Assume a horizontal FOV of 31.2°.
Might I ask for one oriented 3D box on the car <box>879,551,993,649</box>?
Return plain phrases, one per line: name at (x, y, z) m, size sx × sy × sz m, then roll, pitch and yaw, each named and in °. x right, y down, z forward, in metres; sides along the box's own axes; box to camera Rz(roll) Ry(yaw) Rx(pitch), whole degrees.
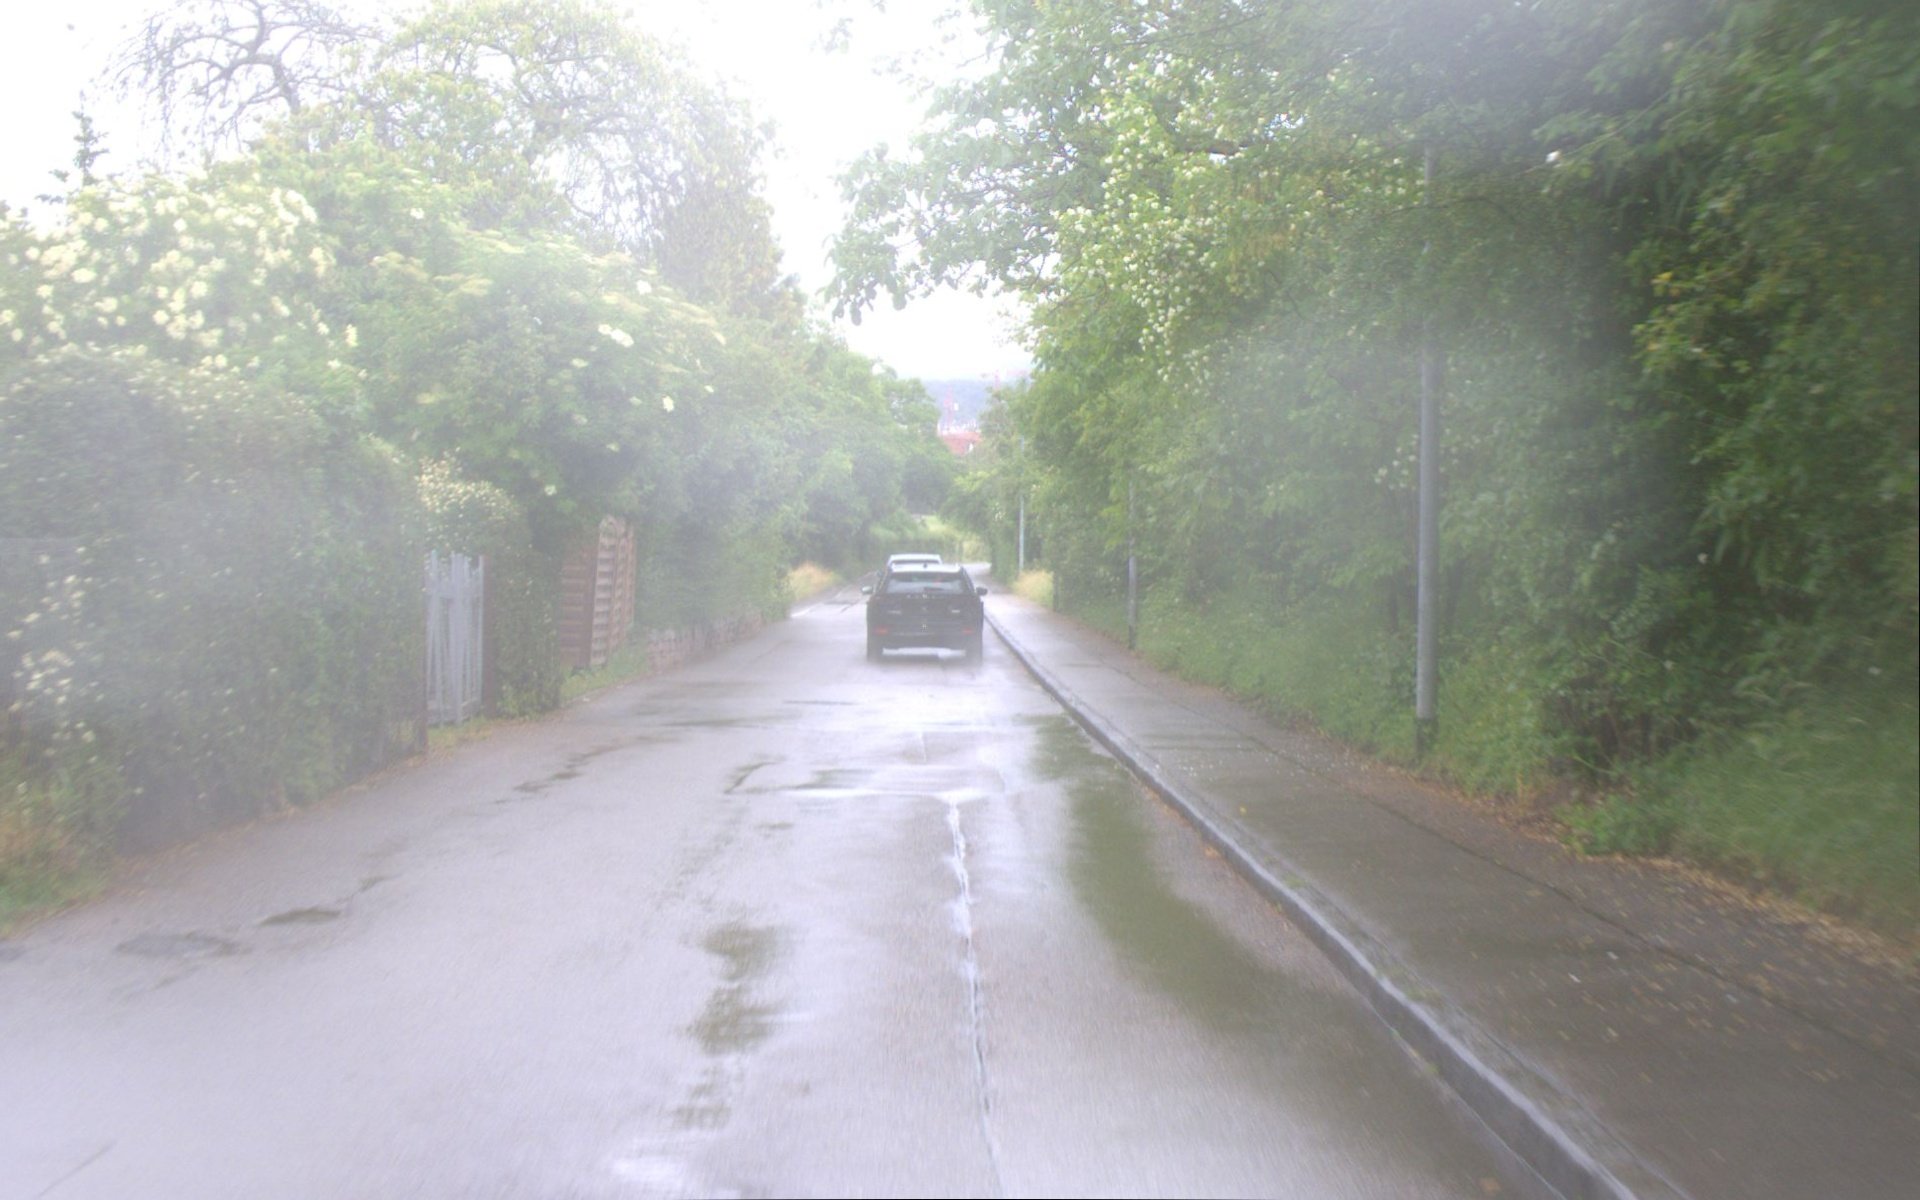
car at (-0.337, 0.006, 52.447) m, size 1.635 × 1.445 × 3.544 m, roll 0°, pitch 0°, yaw 1°
